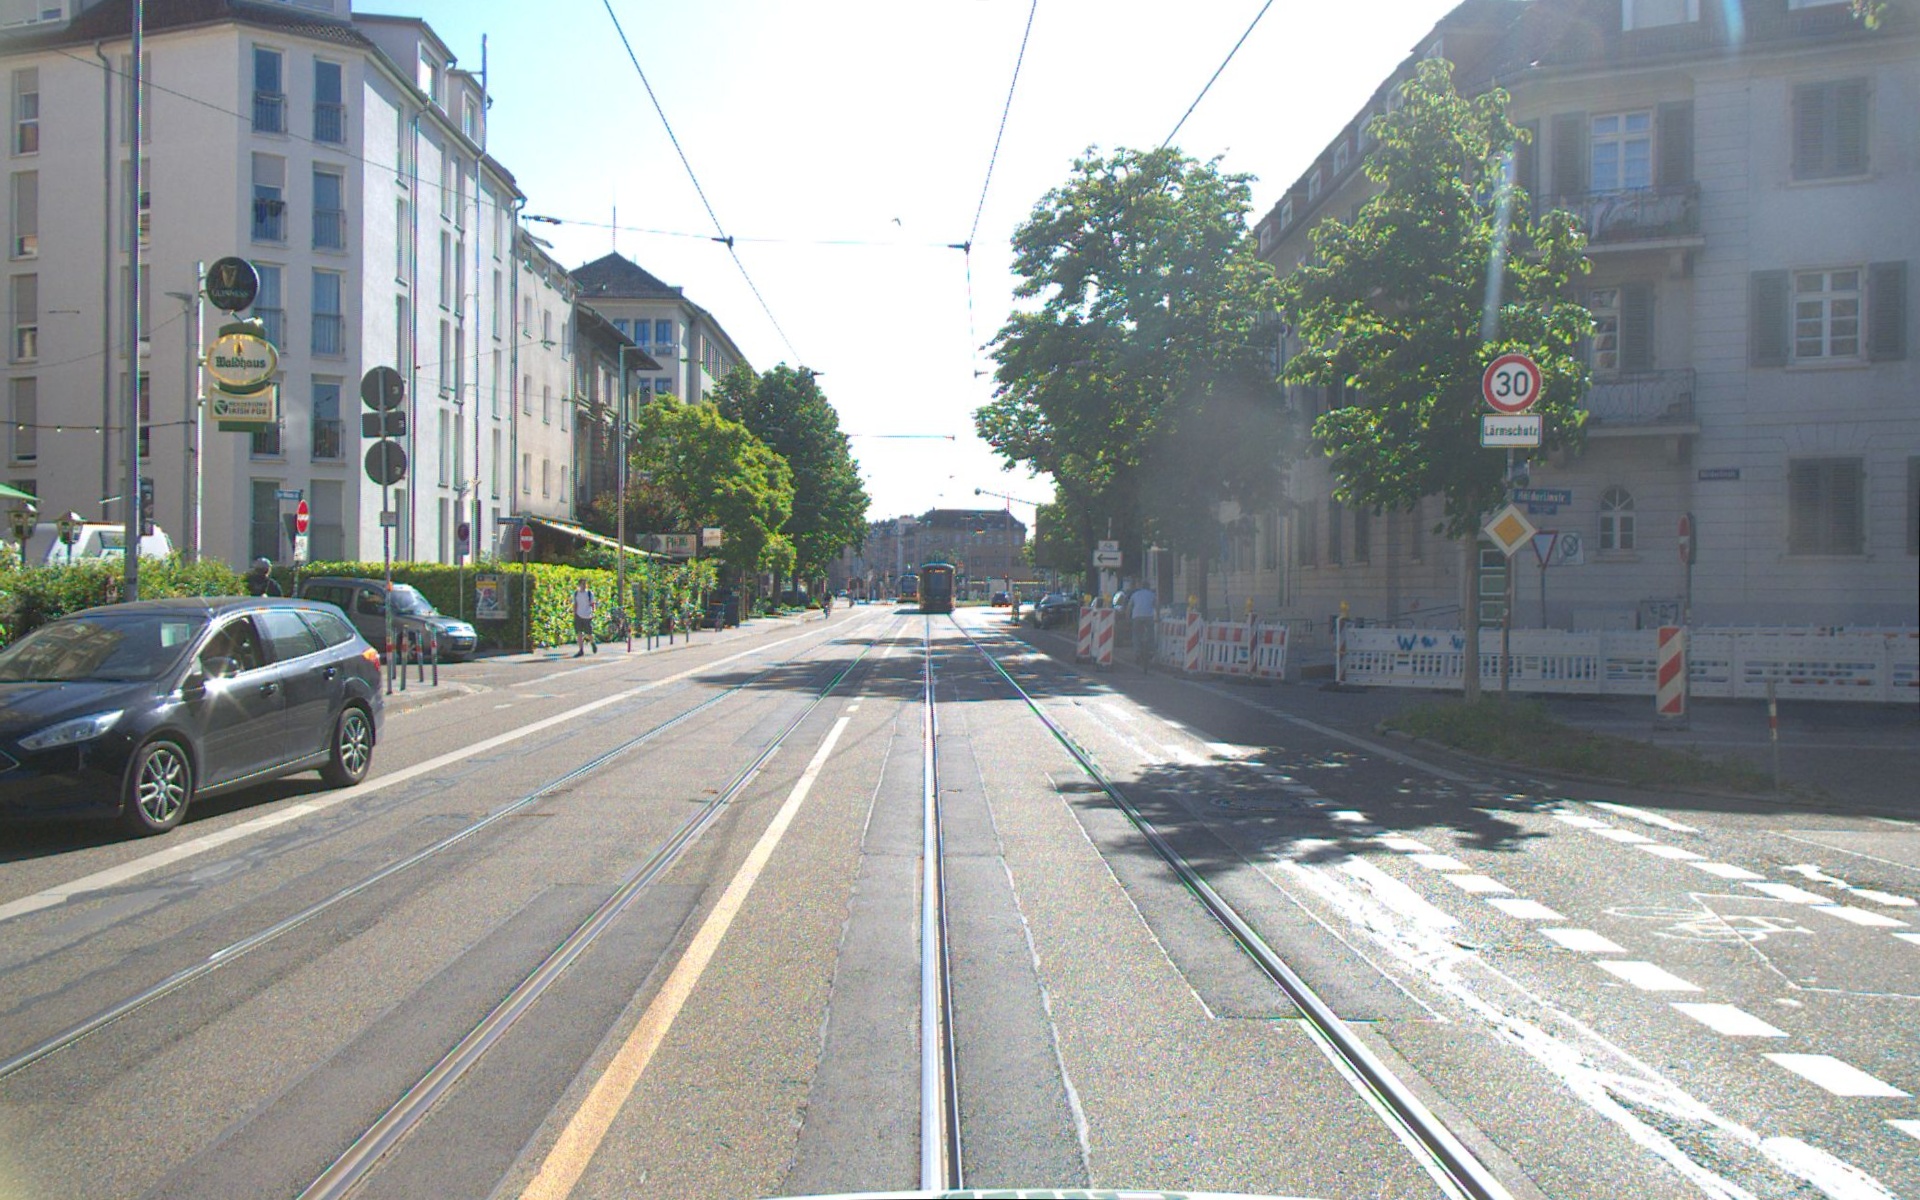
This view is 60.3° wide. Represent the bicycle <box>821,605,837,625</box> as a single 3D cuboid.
[{"bbox_3d":[-7.812,0.895,98.488,0.730,1.100,1.899,-3,0,0],"label":"bicycle"}]

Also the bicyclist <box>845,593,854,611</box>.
[{"bbox_3d":[-10.632,0.181,159.067,0.672,1.673,1.238,-2,0,3],"label":"bicyclist"}]

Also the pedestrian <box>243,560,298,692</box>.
[{"bbox_3d":[-9.578,0.362,22.982,0.546,1.813,0.538,0,0,-4],"label":"pedestrian"}]

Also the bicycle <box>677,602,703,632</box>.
[{"bbox_3d":[-10.045,0.635,61.652,0.625,1.077,1.743,3,0,0],"label":"bicycle"}]

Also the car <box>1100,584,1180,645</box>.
[{"bbox_3d":[5.209,0.392,48.313,1.774,1.654,4.583,-2,0,0],"label":"car"}]

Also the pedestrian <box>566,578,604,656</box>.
[{"bbox_3d":[-8.746,0.399,38.614,0.677,1.799,0.866,0,0,0],"label":"pedestrian"}]

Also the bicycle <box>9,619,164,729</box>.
[{"bbox_3d":[-9.281,0.754,17.676,0.503,1.056,2.222,0,0,-1],"label":"bicycle"}]

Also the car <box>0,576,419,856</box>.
[{"bbox_3d":[-5.744,0.672,11.881,1.825,1.604,4.592,-2,0,5],"label":"car"}]

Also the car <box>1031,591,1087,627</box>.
[{"bbox_3d":[4.333,0.381,72.765,1.786,1.484,4.814,-1,0,-5],"label":"car"}]

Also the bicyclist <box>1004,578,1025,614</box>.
[{"bbox_3d":[2.660,-0.186,80.652,0.690,1.704,1.102,2,1,18],"label":"bicyclist"}]

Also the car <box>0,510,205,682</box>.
[{"bbox_3d":[-16.283,-0.023,30.220,1.846,2.891,4.786,0,-1,16],"label":"car"}]

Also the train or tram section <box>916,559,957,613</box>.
[{"bbox_3d":[-1.810,-1.042,121.359,2.687,3.715,13.781,0,1,-2],"label":"train or tram section"}]

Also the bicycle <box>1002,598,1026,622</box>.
[{"bbox_3d":[2.639,0.469,80.659,0.690,1.124,1.718,2,1,18],"label":"bicycle"}]

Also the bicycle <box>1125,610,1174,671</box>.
[{"bbox_3d":[3.743,0.785,32.852,0.723,1.113,2.111,2,0,1],"label":"bicycle"}]

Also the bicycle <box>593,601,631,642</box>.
[{"bbox_3d":[-9.928,0.623,47.178,0.648,1.108,1.840,3,-1,0],"label":"bicycle"}]

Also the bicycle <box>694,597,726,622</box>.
[{"bbox_3d":[-10.956,0.404,72.465,0.623,1.064,2.023,0,0,15],"label":"bicycle"}]

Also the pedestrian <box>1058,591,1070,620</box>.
[{"bbox_3d":[6.703,0.355,106.922,0.670,1.882,0.955,-1,0,-2],"label":"pedestrian"}]

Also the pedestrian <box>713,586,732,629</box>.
[{"bbox_3d":[-10.402,0.310,72.397,0.563,1.863,0.690,0,0,18],"label":"pedestrian"}]

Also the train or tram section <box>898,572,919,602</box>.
[{"bbox_3d":[-6.707,-1.681,215.462,2.687,3.715,13.781,0,1,-2],"label":"train or tram section"}]

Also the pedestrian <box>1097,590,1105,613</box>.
[{"bbox_3d":[8.853,0.077,103.799,0.507,1.429,0.765,0,0,2],"label":"pedestrian"}]

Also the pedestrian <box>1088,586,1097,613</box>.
[{"bbox_3d":[8.310,-0.031,103.842,0.507,1.628,0.765,0,0,2],"label":"pedestrian"}]

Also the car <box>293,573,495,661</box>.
[{"bbox_3d":[-12.459,0.381,36.455,3.957,1.839,1.792,0,-1,20],"label":"car"}]

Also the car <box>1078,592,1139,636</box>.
[{"bbox_3d":[5.033,0.448,56.498,1.688,1.406,4.356,-1,0,1],"label":"car"}]

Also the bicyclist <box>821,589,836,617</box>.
[{"bbox_3d":[-7.845,0.156,98.488,0.730,1.627,1.118,-3,0,0],"label":"bicyclist"}]

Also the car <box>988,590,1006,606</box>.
[{"bbox_3d":[3.899,-0.228,173.550,1.751,1.632,3.714,2,1,3],"label":"car"}]

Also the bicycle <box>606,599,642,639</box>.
[{"bbox_3d":[-9.974,0.565,49.200,0.648,1.108,1.840,3,-1,0],"label":"bicycle"}]

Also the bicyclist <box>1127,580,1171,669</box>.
[{"bbox_3d":[3.751,0.473,32.839,0.723,1.715,0.972,2,0,1],"label":"bicyclist"}]
